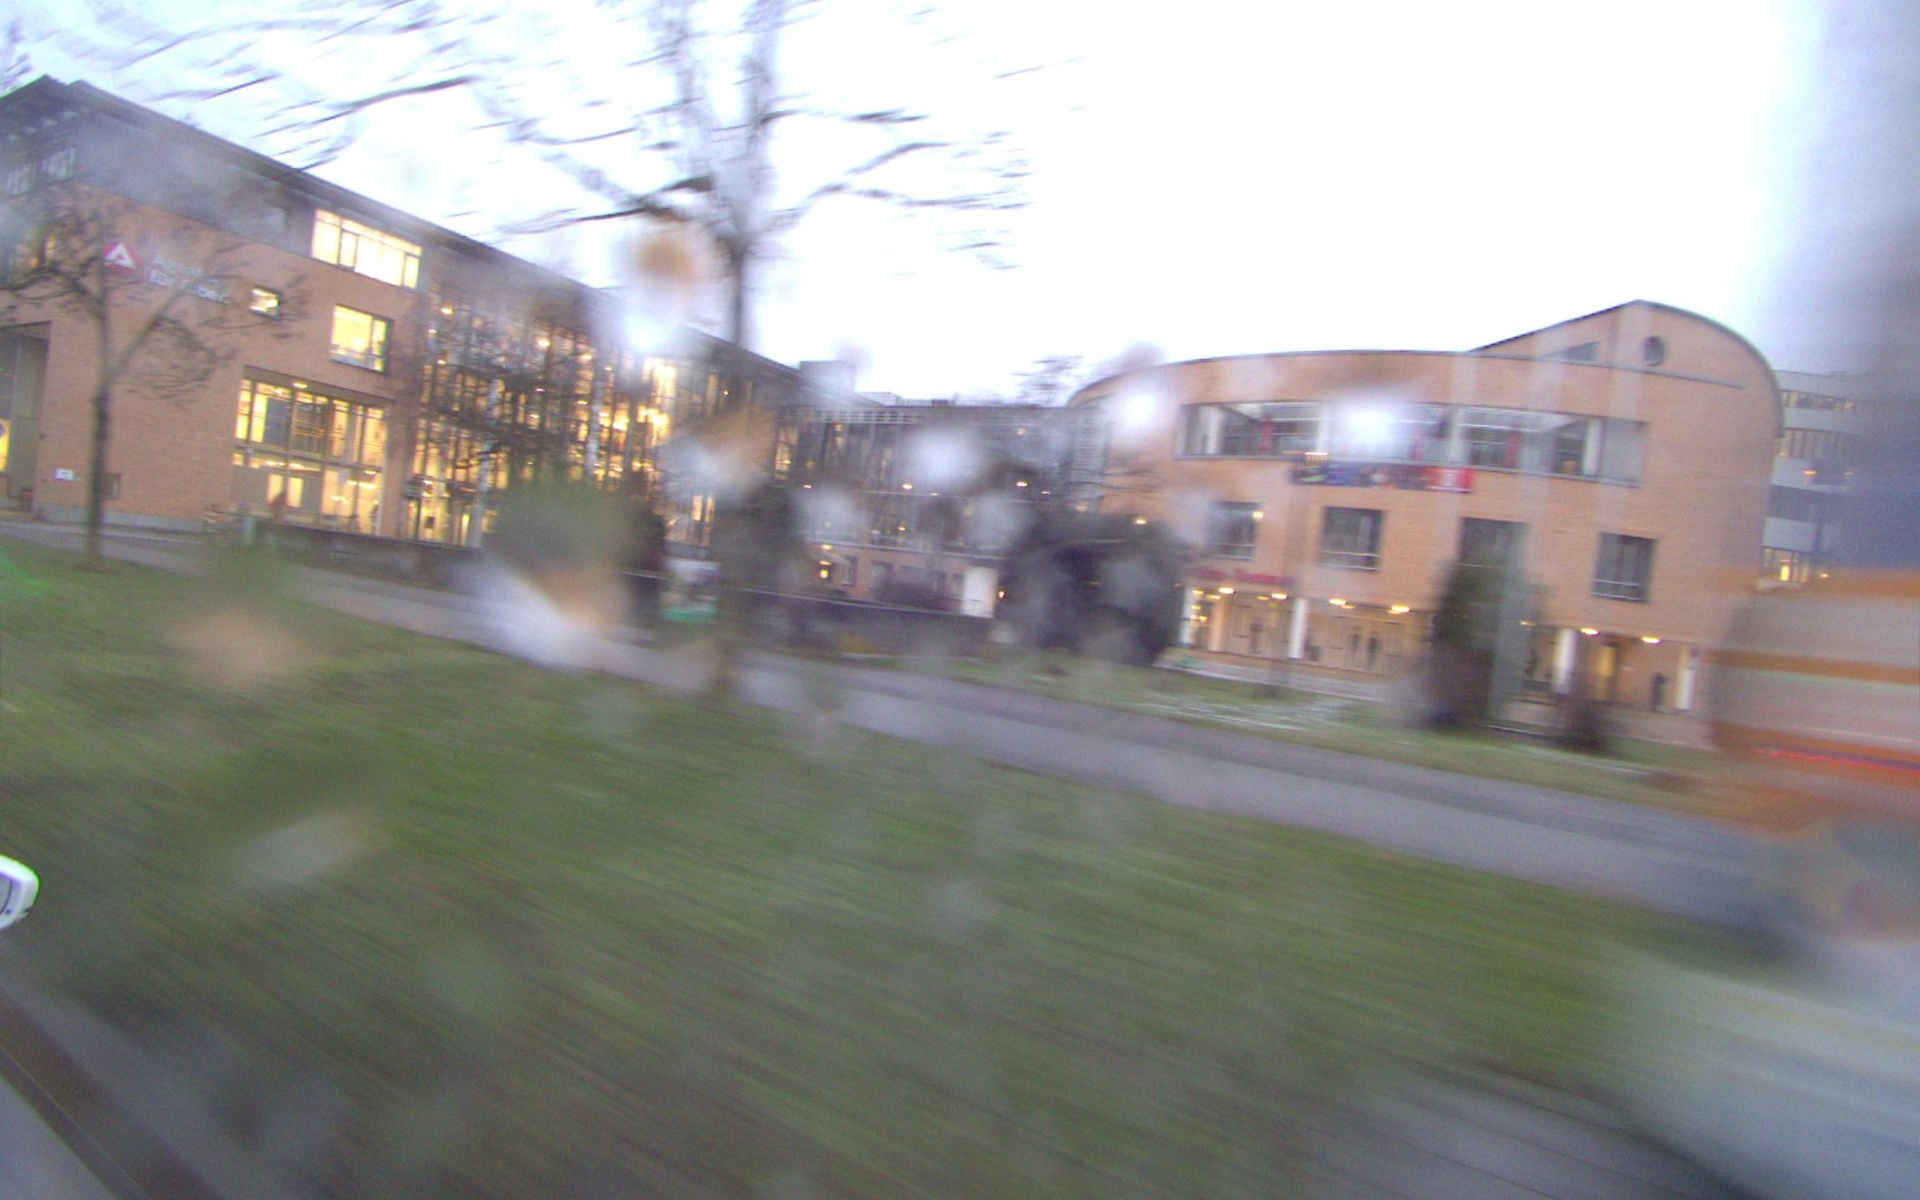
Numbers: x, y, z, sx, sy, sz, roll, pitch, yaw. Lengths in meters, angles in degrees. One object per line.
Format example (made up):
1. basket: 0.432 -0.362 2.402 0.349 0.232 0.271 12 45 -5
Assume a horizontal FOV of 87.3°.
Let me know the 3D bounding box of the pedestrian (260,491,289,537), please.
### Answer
1. pedestrian: -26.535 -3.335 38.953 0.726 1.658 0.630 8 2 38
